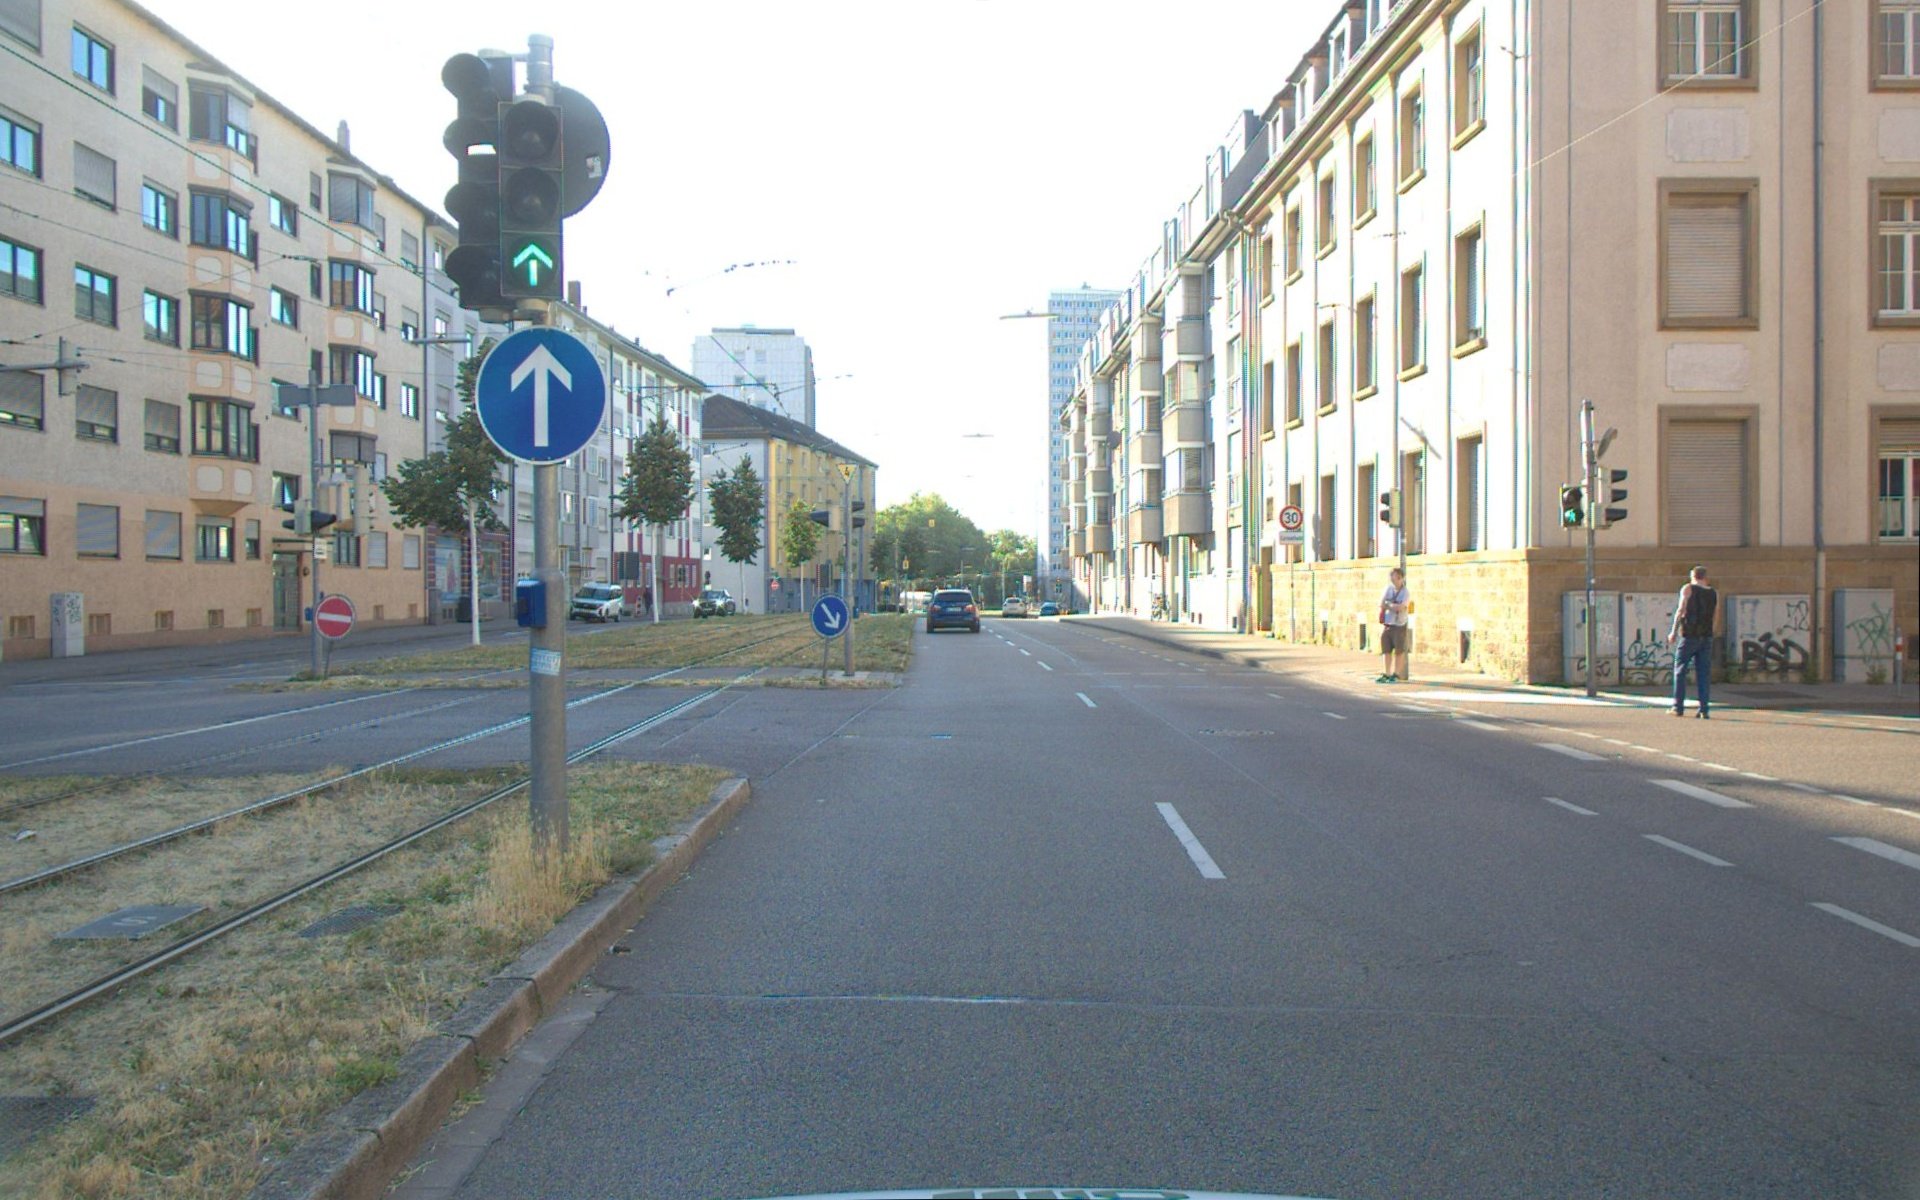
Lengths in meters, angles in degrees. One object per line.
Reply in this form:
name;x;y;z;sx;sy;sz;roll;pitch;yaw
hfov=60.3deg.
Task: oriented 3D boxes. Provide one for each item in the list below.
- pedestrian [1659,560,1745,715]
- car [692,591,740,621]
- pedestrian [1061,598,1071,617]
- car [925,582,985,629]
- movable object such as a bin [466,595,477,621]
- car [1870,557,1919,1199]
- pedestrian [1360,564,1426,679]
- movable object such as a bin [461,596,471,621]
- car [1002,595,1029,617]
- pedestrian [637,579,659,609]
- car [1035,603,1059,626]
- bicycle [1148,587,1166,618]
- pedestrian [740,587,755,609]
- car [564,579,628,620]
pedestrian;8.762;0.433;19.559;0.616;1.789;0.825;1;-1;-1
car;-14.098;0.314;95.843;1.857;1.662;4.749;-1;0;3
pedestrian;7.371;0.531;114.946;0.677;1.256;0.736;1;0;-1
car;-0.203;0.178;55.549;1.887;1.481;4.326;1;0;-2
movable object such as a bin;-20.199;0.338;68.401;0.292;1.054;0.441;1;-1;-2
car;2.871;0.731;1.538;1.663;1.580;4.225;1;0;-1
pedestrian;6.925;0.345;26.475;0.818;1.793;0.824;1;-1;-1
movable object such as a bin;-20.242;0.347;67.758;0.292;1.054;0.441;1;-1;-2
car;4.193;0.442;125.015;1.952;1.591;4.000;1;0;1
pedestrian;-19.011;-0.375;100.756;1.246;1.791;1.271;1;0;-10
car;8.121;1.328;154.639;1.953;2.049;3.999;-1;0;-1
bicycle;7.400;0.093;62.191;0.376;1.115;1.503;-1;0;-3
pedestrian;-16.429;-0.128;127.647;0.942;1.699;1.011;1;0;4
car;-17.874;-0.008;81.413;1.952;1.958;4.543;1;0;3
